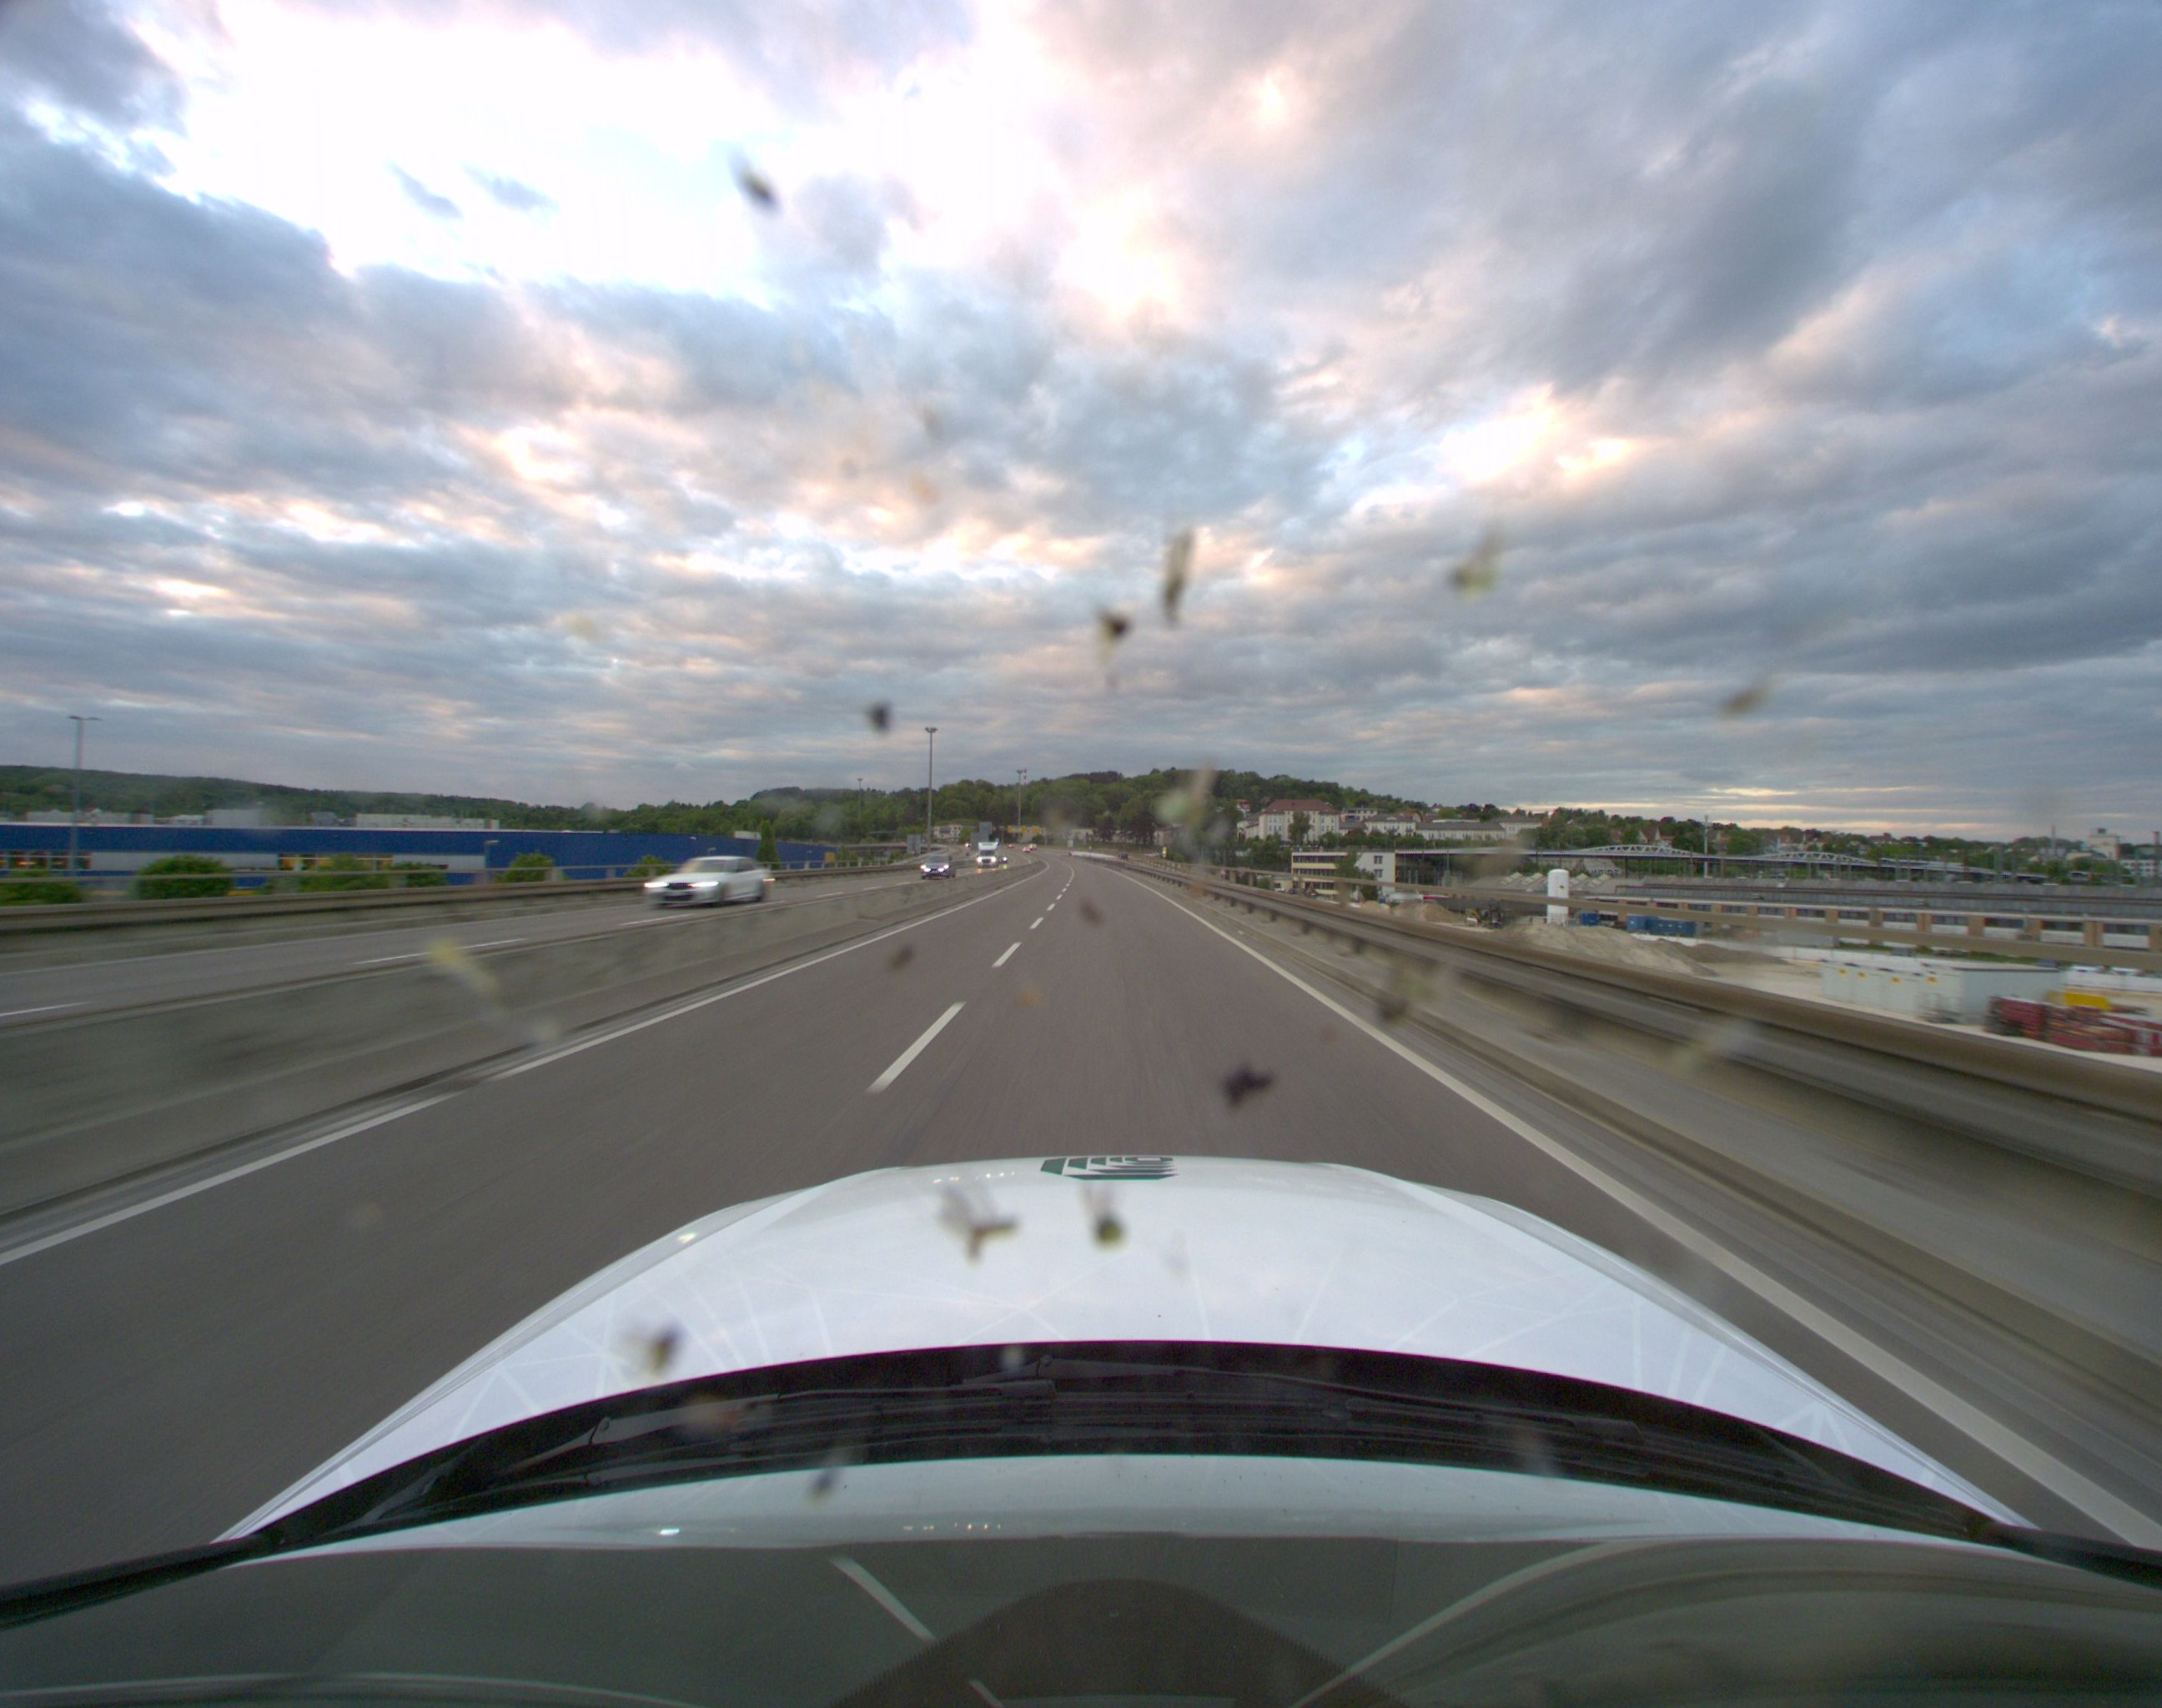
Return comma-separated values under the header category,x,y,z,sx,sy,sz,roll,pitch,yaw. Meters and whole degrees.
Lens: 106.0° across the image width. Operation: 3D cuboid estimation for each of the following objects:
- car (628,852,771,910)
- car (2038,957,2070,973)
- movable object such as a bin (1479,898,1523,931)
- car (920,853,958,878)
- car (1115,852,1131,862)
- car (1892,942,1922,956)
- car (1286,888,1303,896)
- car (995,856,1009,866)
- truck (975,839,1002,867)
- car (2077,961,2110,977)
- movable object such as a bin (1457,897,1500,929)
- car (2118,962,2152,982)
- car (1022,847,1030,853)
category,x,y,z,sx,sy,sz,roll,pitch,yaw
car,-10.914,0.711,23.747,1.825,1.503,4.816,-1,0,0
car,110.289,12.556,92.307,4.014,1.420,1.853,6,0,-33
movable object such as a bin,62.249,8.970,120.847,4.951,4.310,2.770,6,-1,-16
car,-8.596,0.677,49.570,1.624,1.441,3.835,0,1,-1
car,8.357,0.609,161.658,2.304,1.763,4.248,1,1,-10
car,104.256,12.027,102.777,4.014,1.420,1.853,6,0,-33
car,51.819,9.141,197.517,4.016,1.565,1.813,4,2,-35
car,-12.703,1.123,130.673,1.971,1.605,4.438,0,0,-2
truck,-10.957,-0.097,97.315,2.528,3.297,7.441,0,0,-2
car,111.796,12.679,89.931,4.014,1.420,1.853,6,0,-33
movable object such as a bin,60.841,8.995,124.604,4.951,4.310,2.770,6,-1,-16
car,113.362,12.689,87.591,4.014,1.714,1.853,6,0,-33
car,-15.679,-1.173,231.403,1.631,1.387,3.986,-1,2,-11
